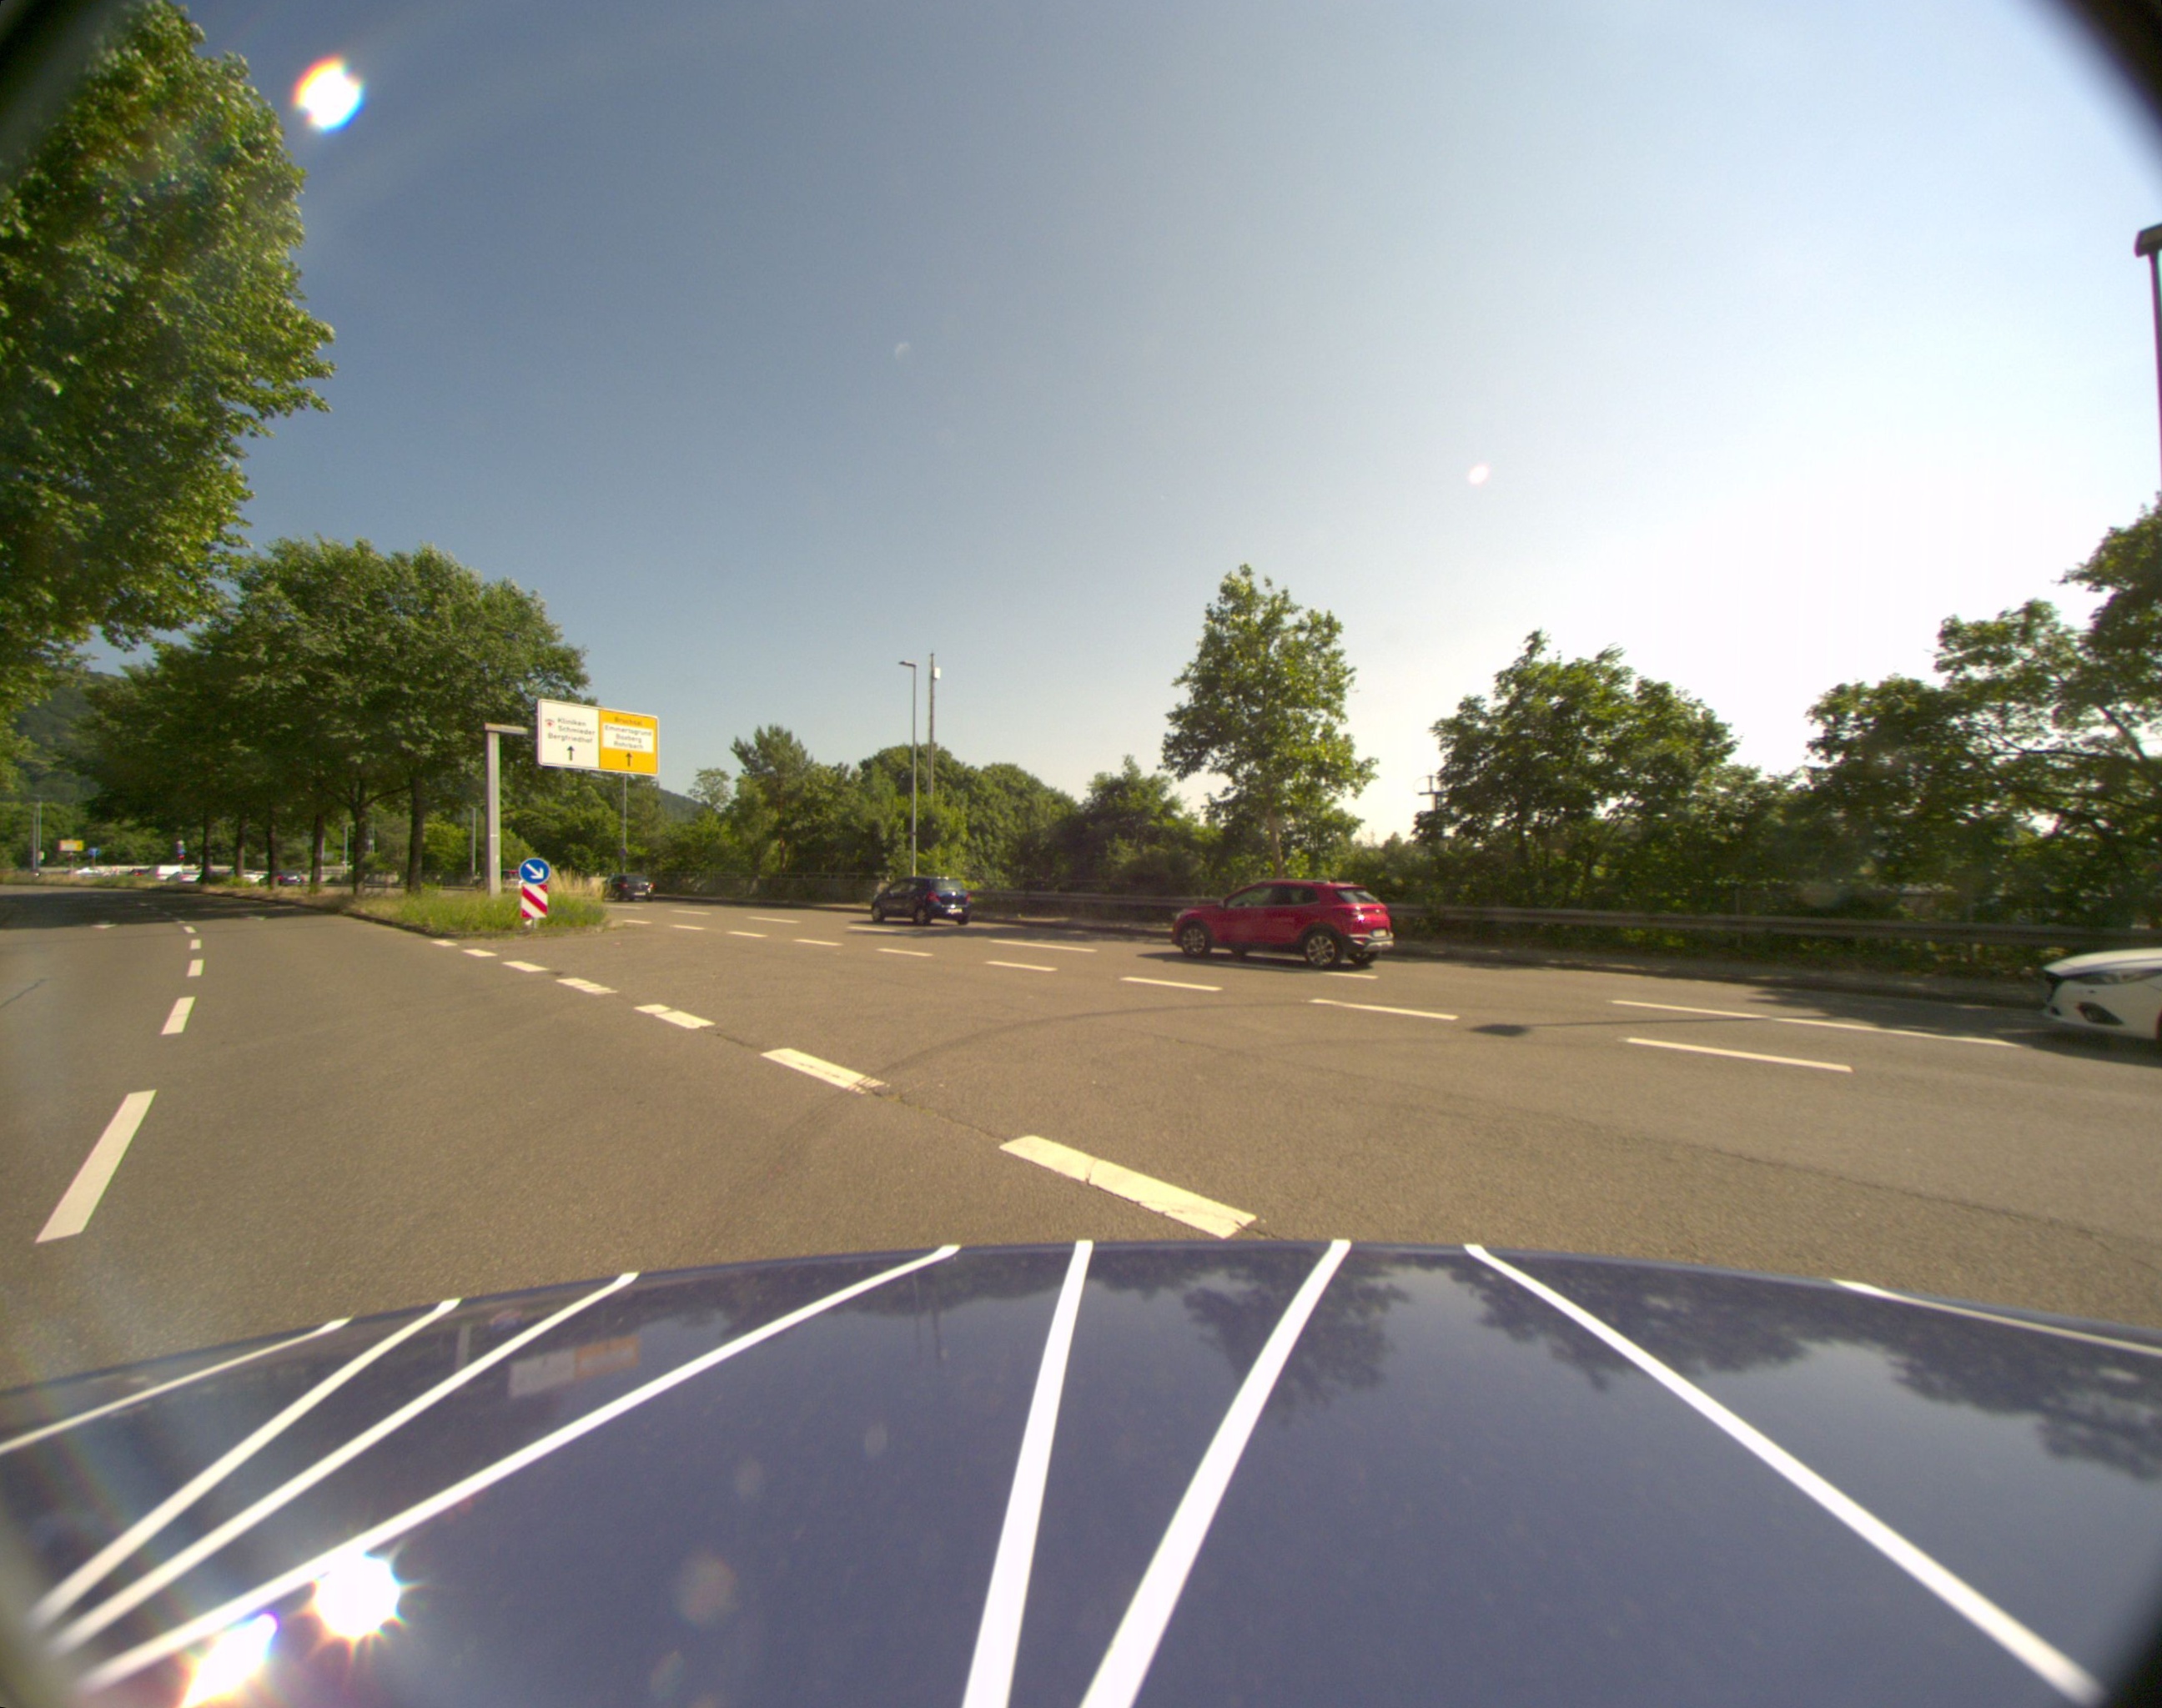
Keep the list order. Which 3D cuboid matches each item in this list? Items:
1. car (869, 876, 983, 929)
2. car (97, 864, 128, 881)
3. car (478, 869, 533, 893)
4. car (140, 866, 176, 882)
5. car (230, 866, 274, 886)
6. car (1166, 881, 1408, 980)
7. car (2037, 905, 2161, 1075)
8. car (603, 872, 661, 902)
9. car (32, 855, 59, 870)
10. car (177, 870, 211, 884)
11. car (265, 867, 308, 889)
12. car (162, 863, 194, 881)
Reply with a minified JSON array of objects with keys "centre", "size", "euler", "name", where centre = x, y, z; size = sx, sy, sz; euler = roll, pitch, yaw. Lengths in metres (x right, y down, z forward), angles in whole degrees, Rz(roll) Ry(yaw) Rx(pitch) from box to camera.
[{"centre":[-4.944,1.488,24.034],"size":[3.639,1.491,1.650],"euler":[-1,-3,42],"name":"car"},{"centre":[-106.585,2.043,83.605],"size":[3.582,1.800,1.638],"euler":[0,-1,30],"name":"car"},{"centre":[-40.684,1.880,53.664],"size":[4.300,1.654,1.928],"euler":[-1,-1,36],"name":"car"},{"centre":[-112.496,2.400,92.608],"size":[3.989,1.855,2.005],"euler":[0,-3,29],"name":"car"},{"centre":[-78.364,2.063,71.791],"size":[3.989,1.879,2.004],"euler":[-1,-1,31],"name":"car"},{"centre":[3.702,1.287,14.090],"size":[3.953,1.510,1.807],"euler":[-1,-2,45],"name":"car"},{"centre":[11.260,1.224,6.161],"size":[1.875,1.444,4.193],"euler":[3,-3,-44],"name":"car"},{"centre":[-23.268,1.686,39.364],"size":[3.567,1.460,1.685],"euler":[-1,-1,44],"name":"car"},{"centre":[-131.272,1.107,96.289],"size":[3.582,1.800,1.638],"euler":[-1,-1,30],"name":"car"},{"centre":[-91.122,2.348,78.037],"size":[3.670,1.486,1.638],"euler":[-1,-1,31],"name":"car"},{"centre":[-69.975,2.062,66.927],"size":[3.989,1.879,2.004],"euler":[-1,-1,34],"name":"car"},{"centre":[-96.881,1.958,81.504],"size":[3.670,1.903,1.638],"euler":[0,-1,31],"name":"car"}]
